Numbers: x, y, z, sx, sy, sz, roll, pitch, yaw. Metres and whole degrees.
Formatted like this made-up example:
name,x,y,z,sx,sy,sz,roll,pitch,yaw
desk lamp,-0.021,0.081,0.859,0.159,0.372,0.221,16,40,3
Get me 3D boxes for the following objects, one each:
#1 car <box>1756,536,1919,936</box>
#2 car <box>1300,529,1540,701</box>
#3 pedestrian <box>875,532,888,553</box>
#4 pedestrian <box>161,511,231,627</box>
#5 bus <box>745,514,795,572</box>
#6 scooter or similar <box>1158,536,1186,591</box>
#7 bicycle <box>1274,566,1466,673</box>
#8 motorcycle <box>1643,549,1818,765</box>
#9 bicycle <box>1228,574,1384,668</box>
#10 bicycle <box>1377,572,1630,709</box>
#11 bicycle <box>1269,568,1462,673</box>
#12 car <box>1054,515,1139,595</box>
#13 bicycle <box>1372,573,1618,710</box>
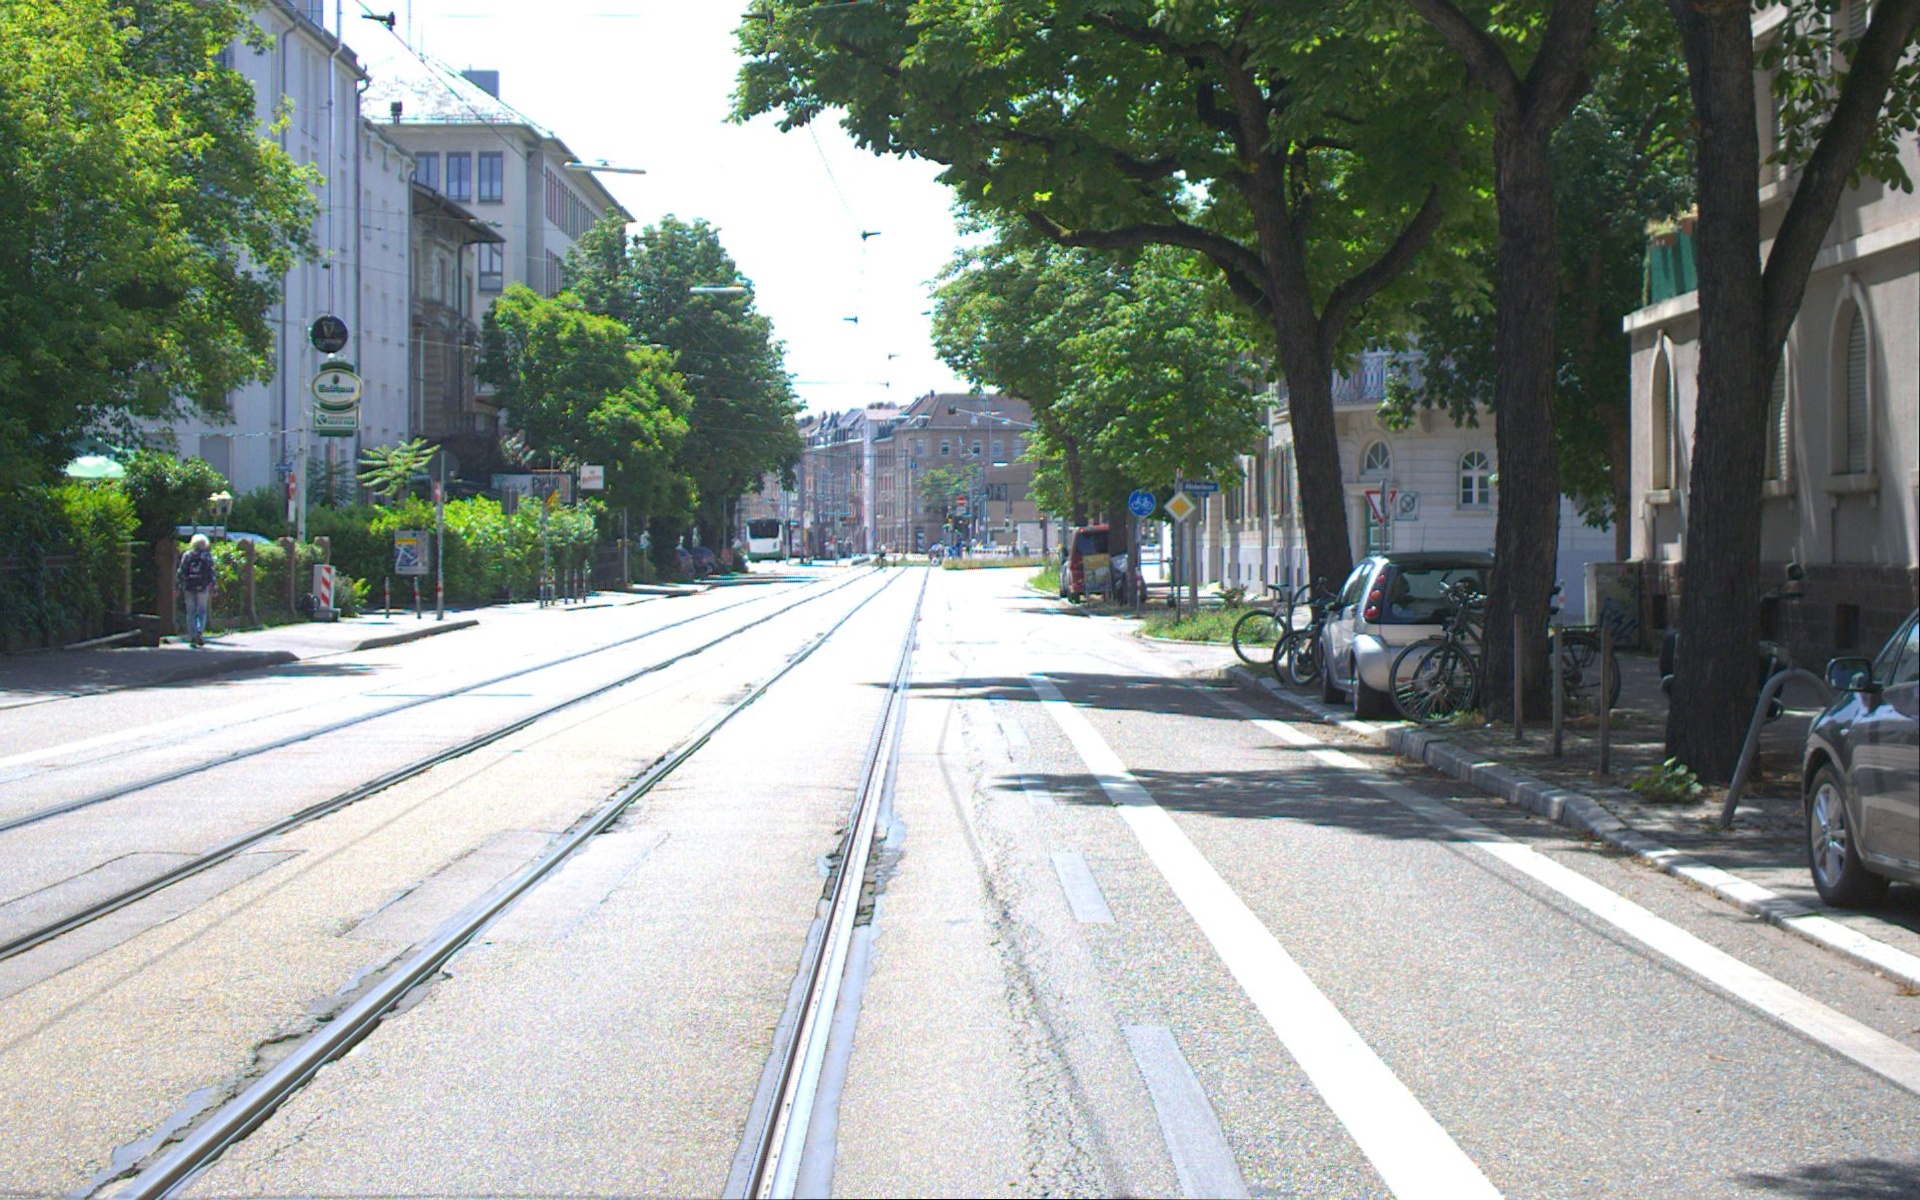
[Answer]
name,x,y,z,sx,sy,sz,roll,pitch,yaw
car,4.518,0.510,13.301,1.774,1.496,4.306,-1,1,-1
car,4.189,0.114,31.785,1.621,1.443,3.810,-2,0,-1
pedestrian,-4.396,-3.216,192.660,0.491,1.169,0.590,0,1,-25
pedestrian,-10.866,-0.438,48.921,0.751,1.623,0.833,1,1,4
bus,-13.711,-4.078,248.539,2.931,3.923,11.275,2,0,-1
scooter or similar,4.813,-0.834,78.210,0.501,1.225,1.573,1,1,-1
bicycle,4.327,0.210,36.328,1.963,1.109,0.598,0,0,2
motorcycle,4.928,0.327,22.124,0.997,1.295,2.377,0,1,10
bicycle,4.162,0.253,41.429,1.816,1.109,0.493,0,0,-1
bicycle,4.342,0.314,27.562,1.964,1.059,0.598,1,0,7
bicycle,4.351,0.220,36.950,2.010,1.109,0.640,0,0,2
car,3.551,-1.198,90.314,1.993,2.028,4.697,0,1,0
bicycle,4.221,0.322,27.210,1.890,1.048,0.538,1,0,7
